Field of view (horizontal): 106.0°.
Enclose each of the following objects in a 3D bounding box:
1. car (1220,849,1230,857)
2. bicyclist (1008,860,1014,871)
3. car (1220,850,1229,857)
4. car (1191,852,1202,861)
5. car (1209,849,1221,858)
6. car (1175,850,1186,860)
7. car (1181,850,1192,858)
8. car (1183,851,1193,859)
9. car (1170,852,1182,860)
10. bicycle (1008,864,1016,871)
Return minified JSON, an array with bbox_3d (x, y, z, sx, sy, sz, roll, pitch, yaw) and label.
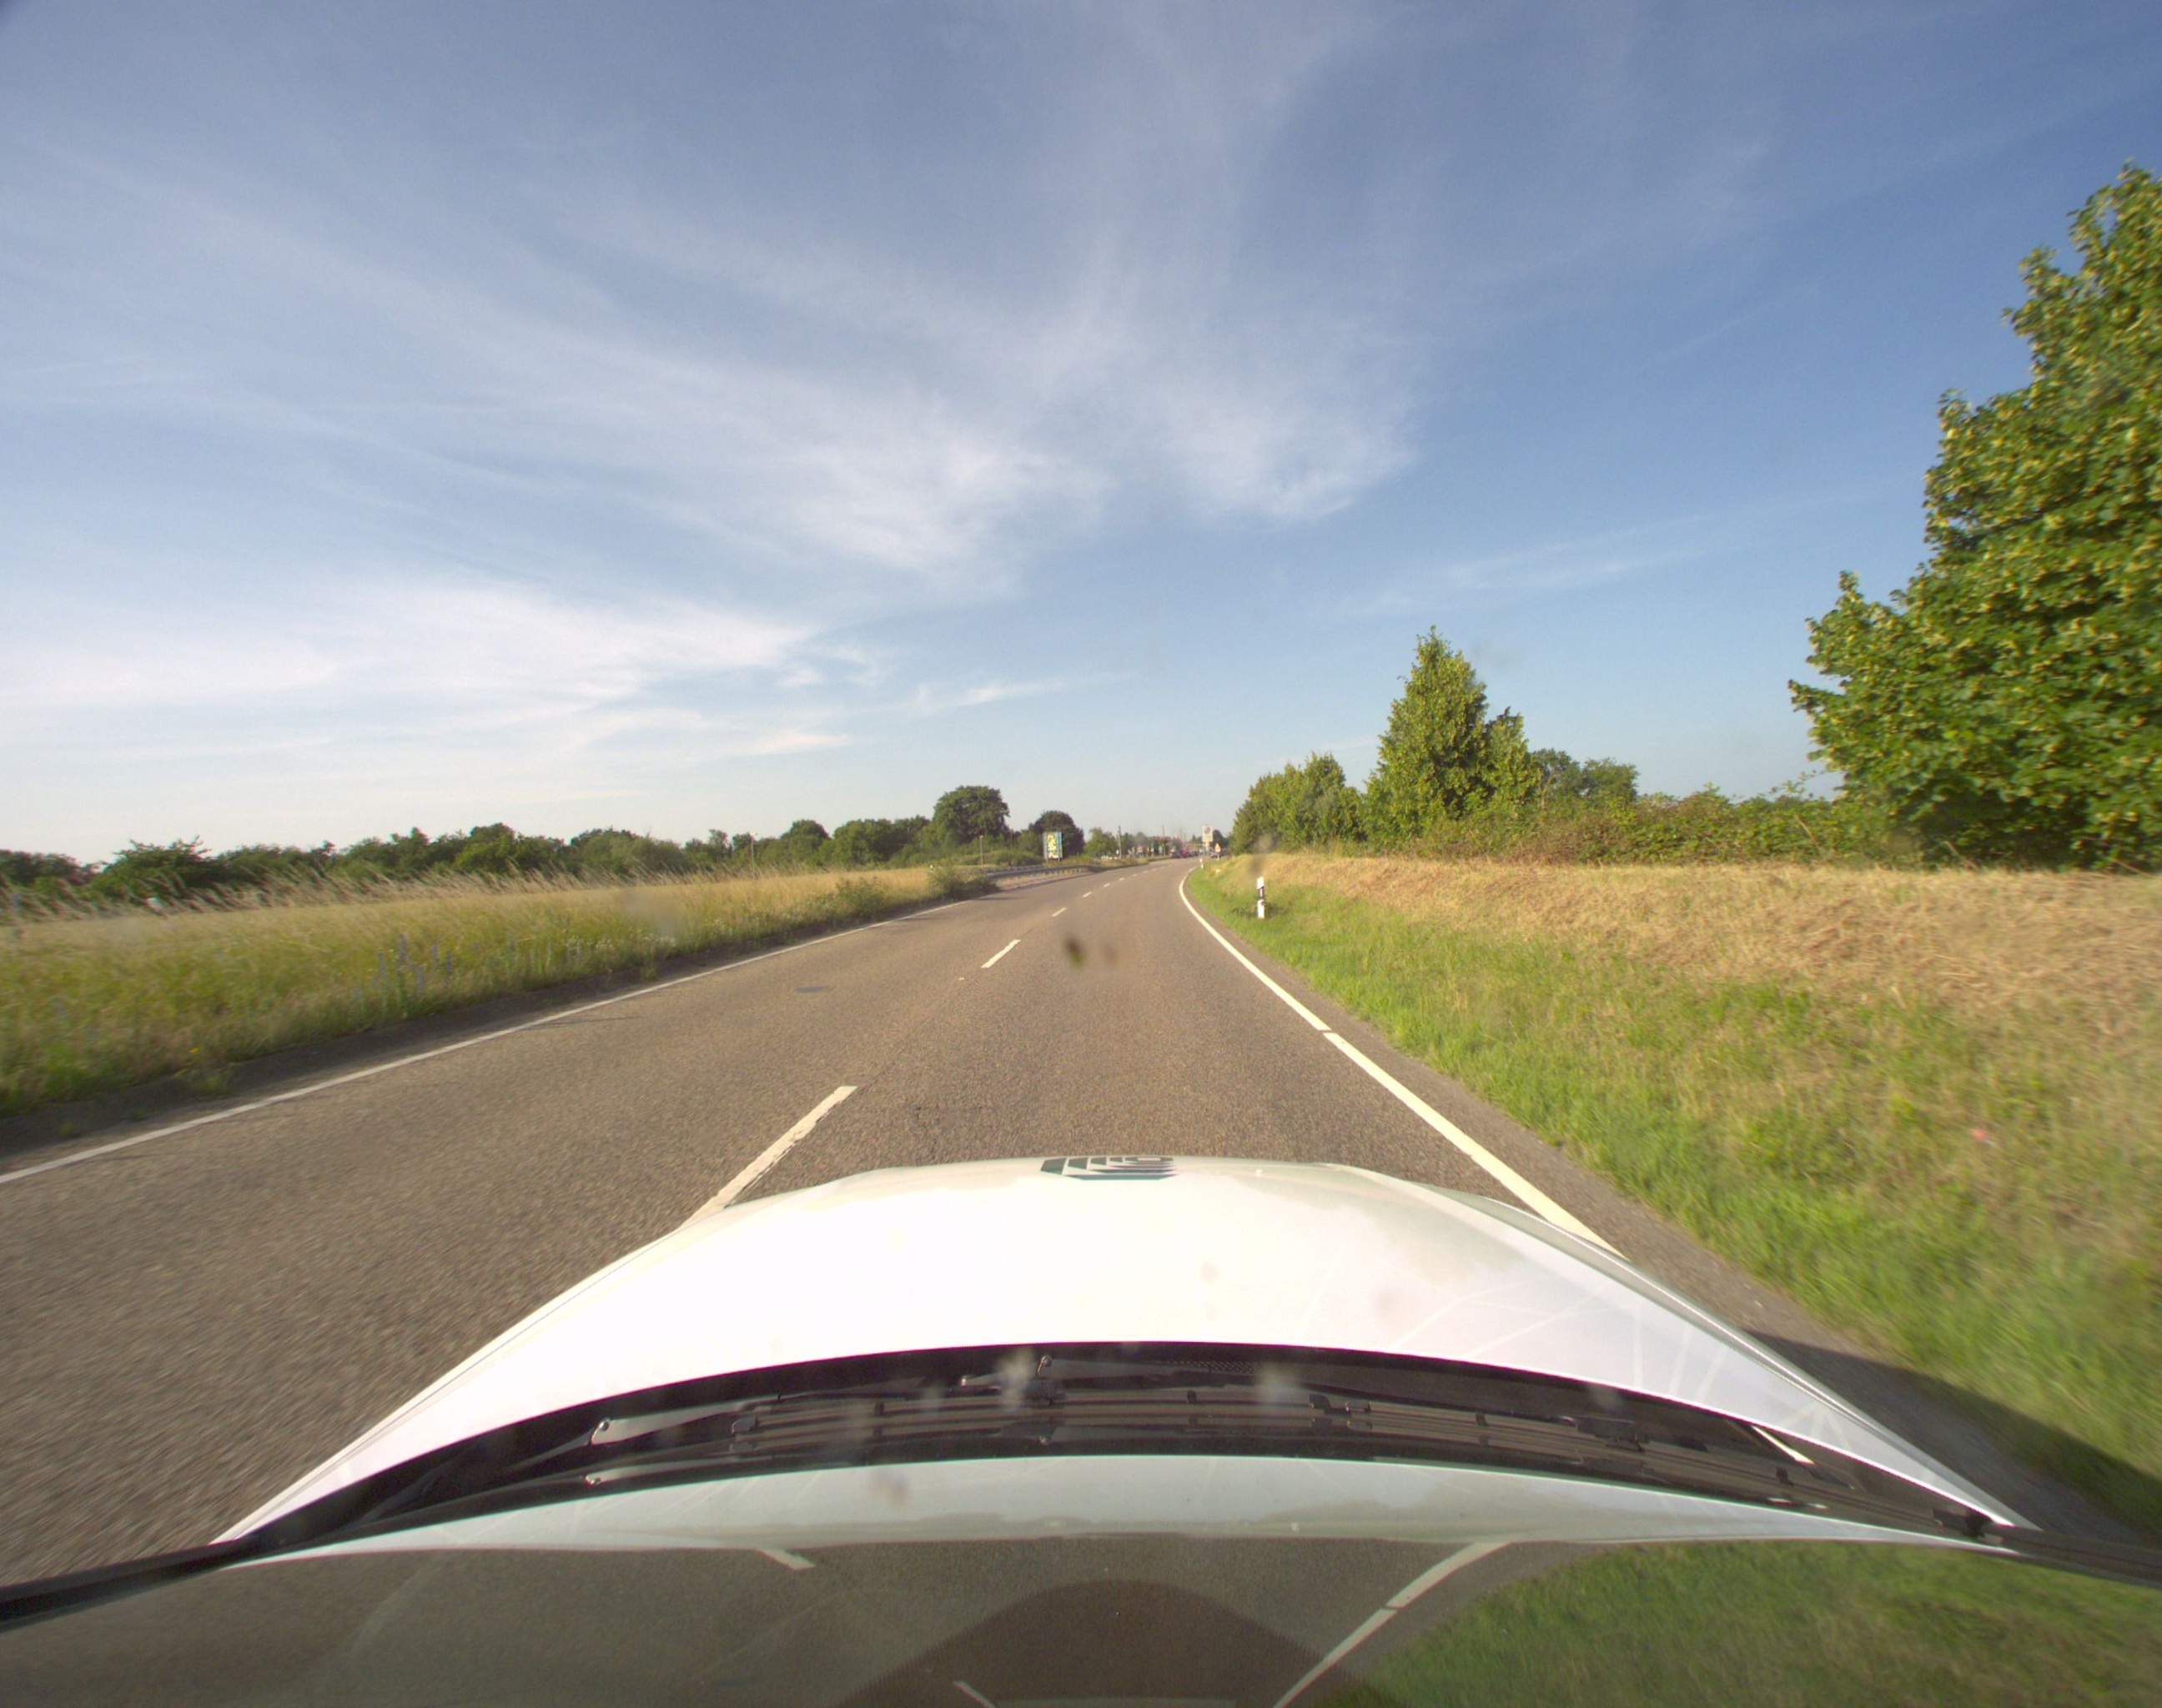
[{"bbox_3d":[31.728,-0.232,179.452,1.980,1.552,4.014,-2,0,13],"label":"car"},{"bbox_3d":[-9.346,1.524,109.432,0.463,1.389,1.051,-3,0,12],"label":"bicyclist"},{"bbox_3d":[34.955,-0.112,198.638,1.980,1.552,4.014,-2,0,13],"label":"car"},{"bbox_3d":[28.499,0.743,201.250,1.979,2.014,4.855,-3,-2,15],"label":"car"},{"bbox_3d":[25.717,-0.060,156.205,1.980,1.552,4.014,-2,0,13],"label":"car"},{"bbox_3d":[20.327,0.140,166.703,1.720,1.855,4.536,-2,0,13],"label":"car"},{"bbox_3d":[22.538,0.051,174.347,1.758,1.679,4.536,-2,0,13],"label":"car"},{"bbox_3d":[24.169,0.215,183.727,1.758,1.471,4.029,-2,0,13],"label":"car"},{"bbox_3d":[18.705,0.389,160.006,1.720,1.456,4.536,-2,0,13],"label":"car"},{"bbox_3d":[-9.303,1.775,109.439,0.526,0.878,1.710,-3,0,12],"label":"bicycle"}]
